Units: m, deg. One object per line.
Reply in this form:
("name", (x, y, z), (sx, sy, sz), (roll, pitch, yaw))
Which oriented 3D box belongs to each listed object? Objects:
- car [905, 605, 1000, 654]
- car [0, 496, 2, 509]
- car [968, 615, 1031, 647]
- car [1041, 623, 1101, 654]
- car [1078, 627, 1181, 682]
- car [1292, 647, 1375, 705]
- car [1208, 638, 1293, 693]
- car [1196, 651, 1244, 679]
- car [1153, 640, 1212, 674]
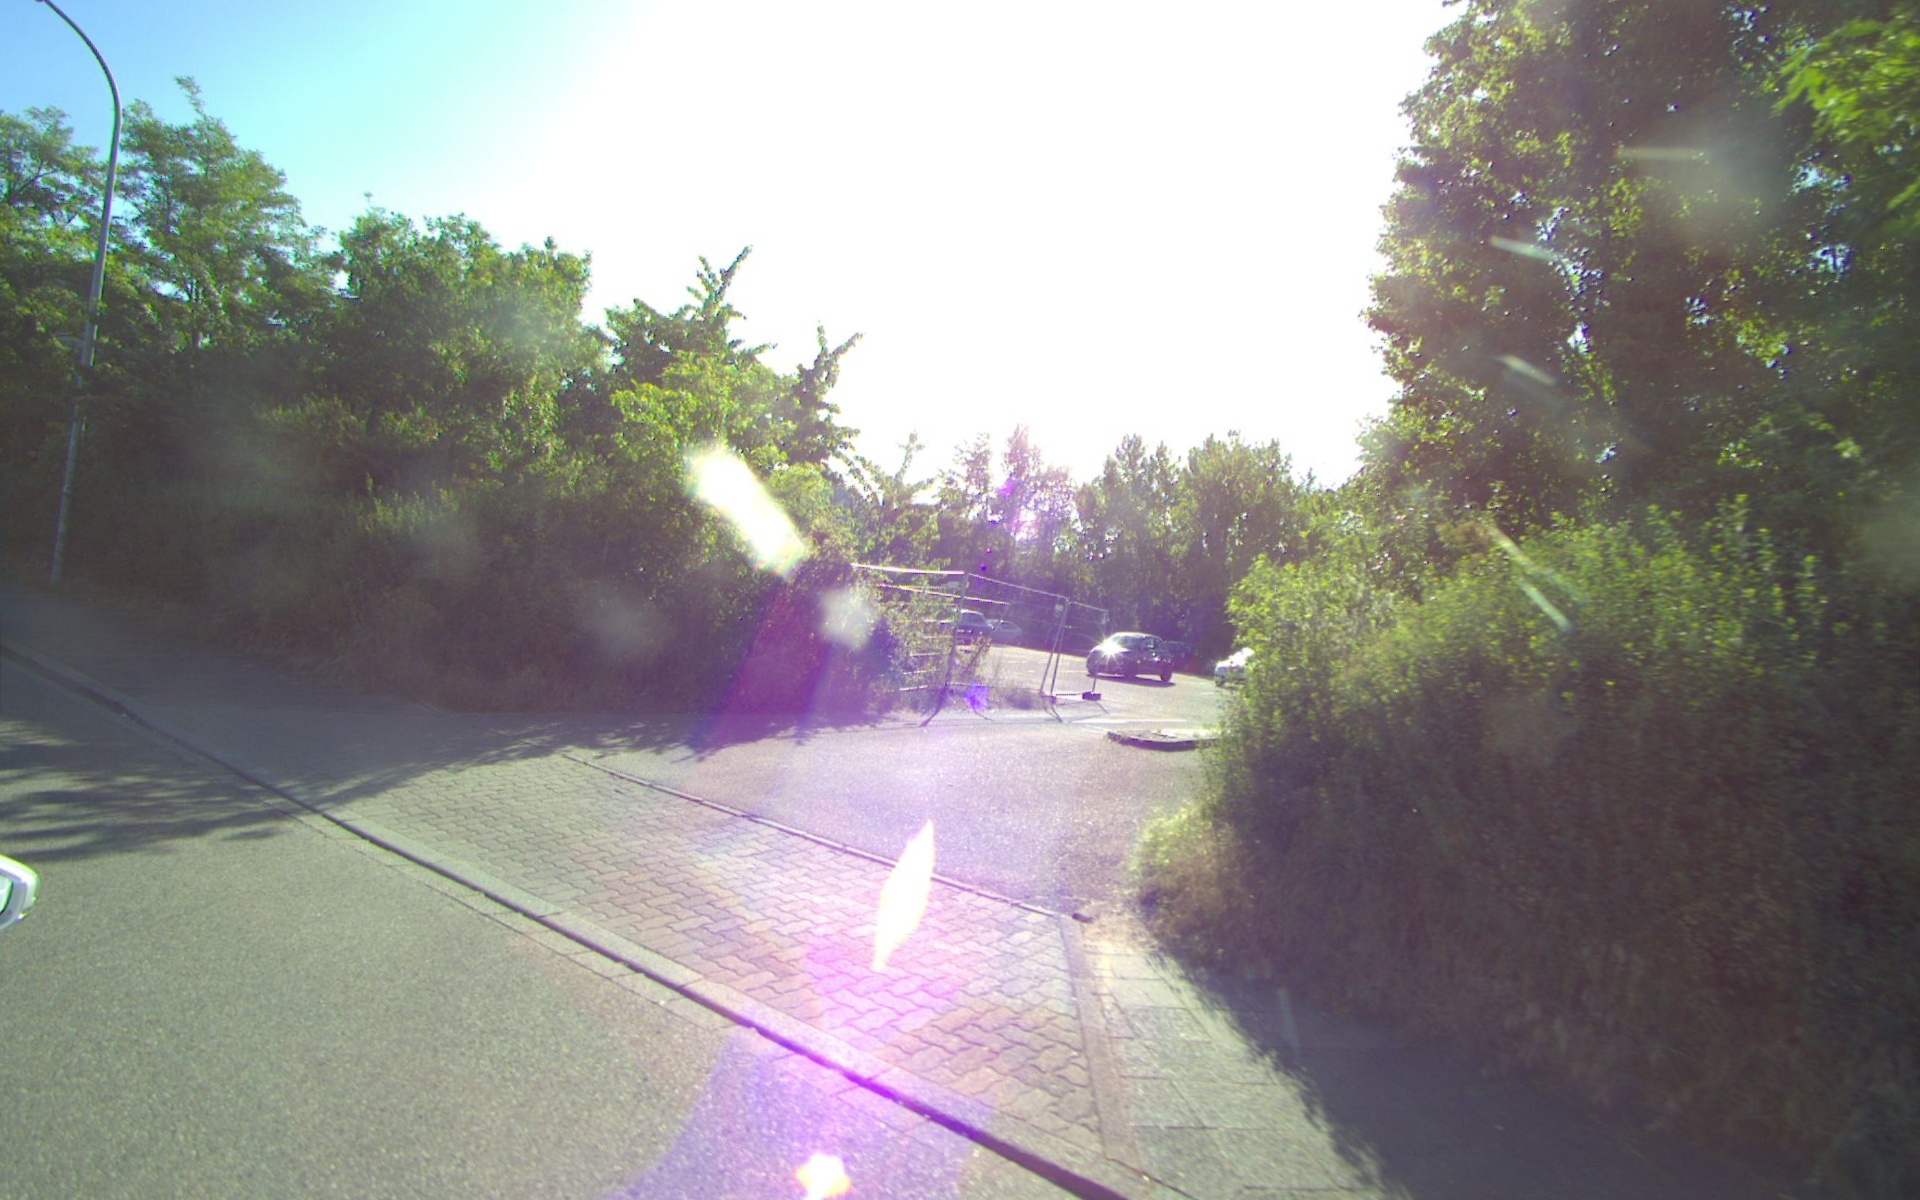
("car", (-0.234, 1.140, 38.062), (1.599, 1.492, 3.724), (7, 0, 36))
("car", (-11.103, -0.496, 9.970), (3.500, 1.555, 1.558), (7, -3, 36))
("car", (2.338, 1.803, 57.924), (1.627, 1.526, 3.979), (7, 0, 35))
("car", (6.508, 2.276, 58.752), (1.627, 1.526, 3.979), (7, 0, 35))
("car", (5.663, 1.823, 33.280), (1.600, 1.492, 3.720), (7, 0, 39))
("car", (12.976, 2.602, 34.779), (1.850, 1.675, 3.938), (7, 0, 31))
("car", (10.504, 2.349, 36.185), (1.850, 1.676, 3.938), (7, 0, 31))
("car", (17.088, 4.284, 65.969), (1.627, 1.526, 3.979), (7, 0, 35))
("car", (12.200, 3.137, 55.001), (1.725, 1.587, 3.980), (7, 0, 33))
